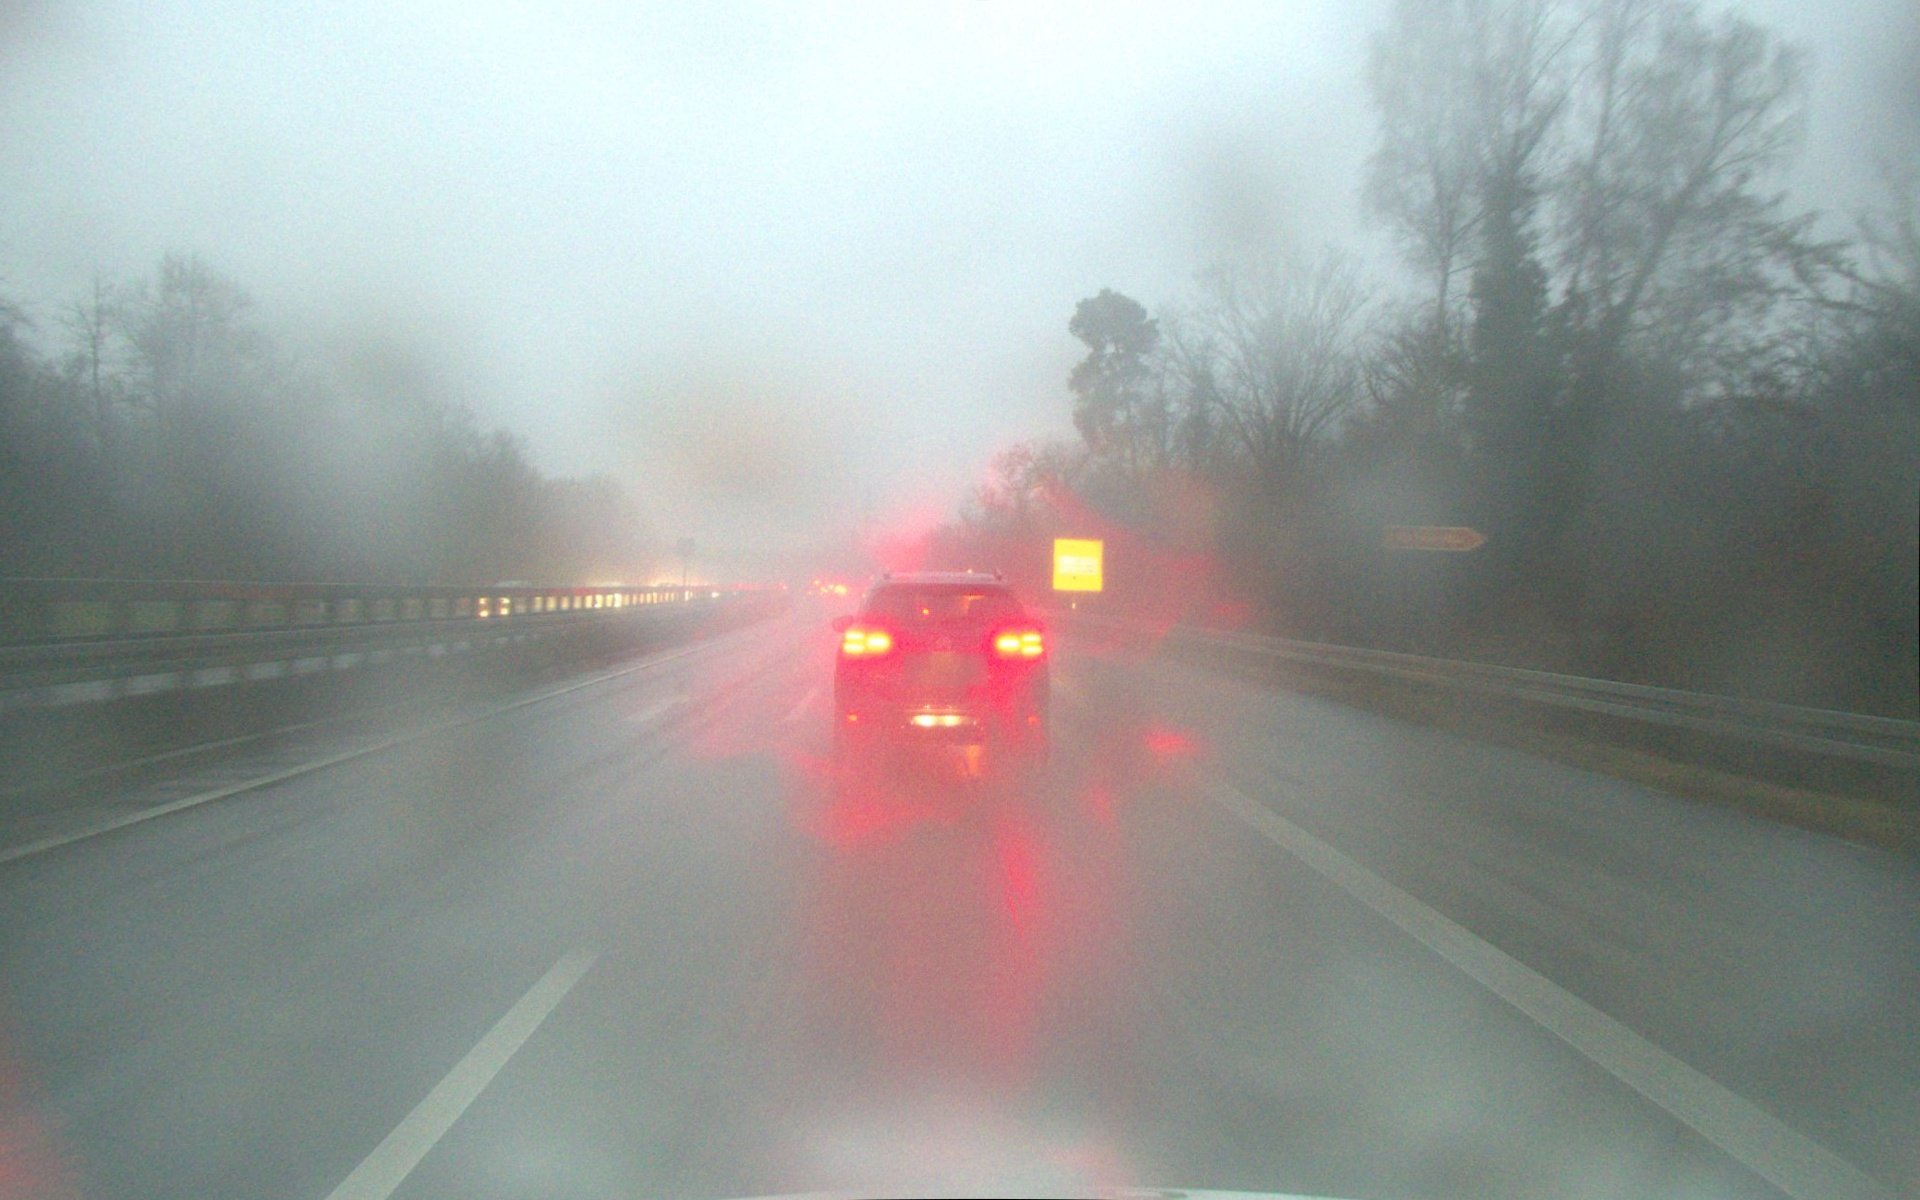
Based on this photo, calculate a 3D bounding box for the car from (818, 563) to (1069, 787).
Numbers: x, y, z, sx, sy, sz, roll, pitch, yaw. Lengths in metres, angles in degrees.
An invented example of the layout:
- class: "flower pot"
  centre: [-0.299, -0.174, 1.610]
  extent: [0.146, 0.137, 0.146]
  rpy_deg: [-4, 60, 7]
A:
- class: "car"
  centre: [-0.222, 0.587, 14.941]
  extent: [1.952, 1.745, 3.828]
  rpy_deg: [1, 0, -3]

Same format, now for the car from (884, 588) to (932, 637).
- class: "car"
  centre: [-2.267, 0.520, 71.453]
  extent: [1.954, 2.049, 3.998]
  rpy_deg: [1, 0, -3]
